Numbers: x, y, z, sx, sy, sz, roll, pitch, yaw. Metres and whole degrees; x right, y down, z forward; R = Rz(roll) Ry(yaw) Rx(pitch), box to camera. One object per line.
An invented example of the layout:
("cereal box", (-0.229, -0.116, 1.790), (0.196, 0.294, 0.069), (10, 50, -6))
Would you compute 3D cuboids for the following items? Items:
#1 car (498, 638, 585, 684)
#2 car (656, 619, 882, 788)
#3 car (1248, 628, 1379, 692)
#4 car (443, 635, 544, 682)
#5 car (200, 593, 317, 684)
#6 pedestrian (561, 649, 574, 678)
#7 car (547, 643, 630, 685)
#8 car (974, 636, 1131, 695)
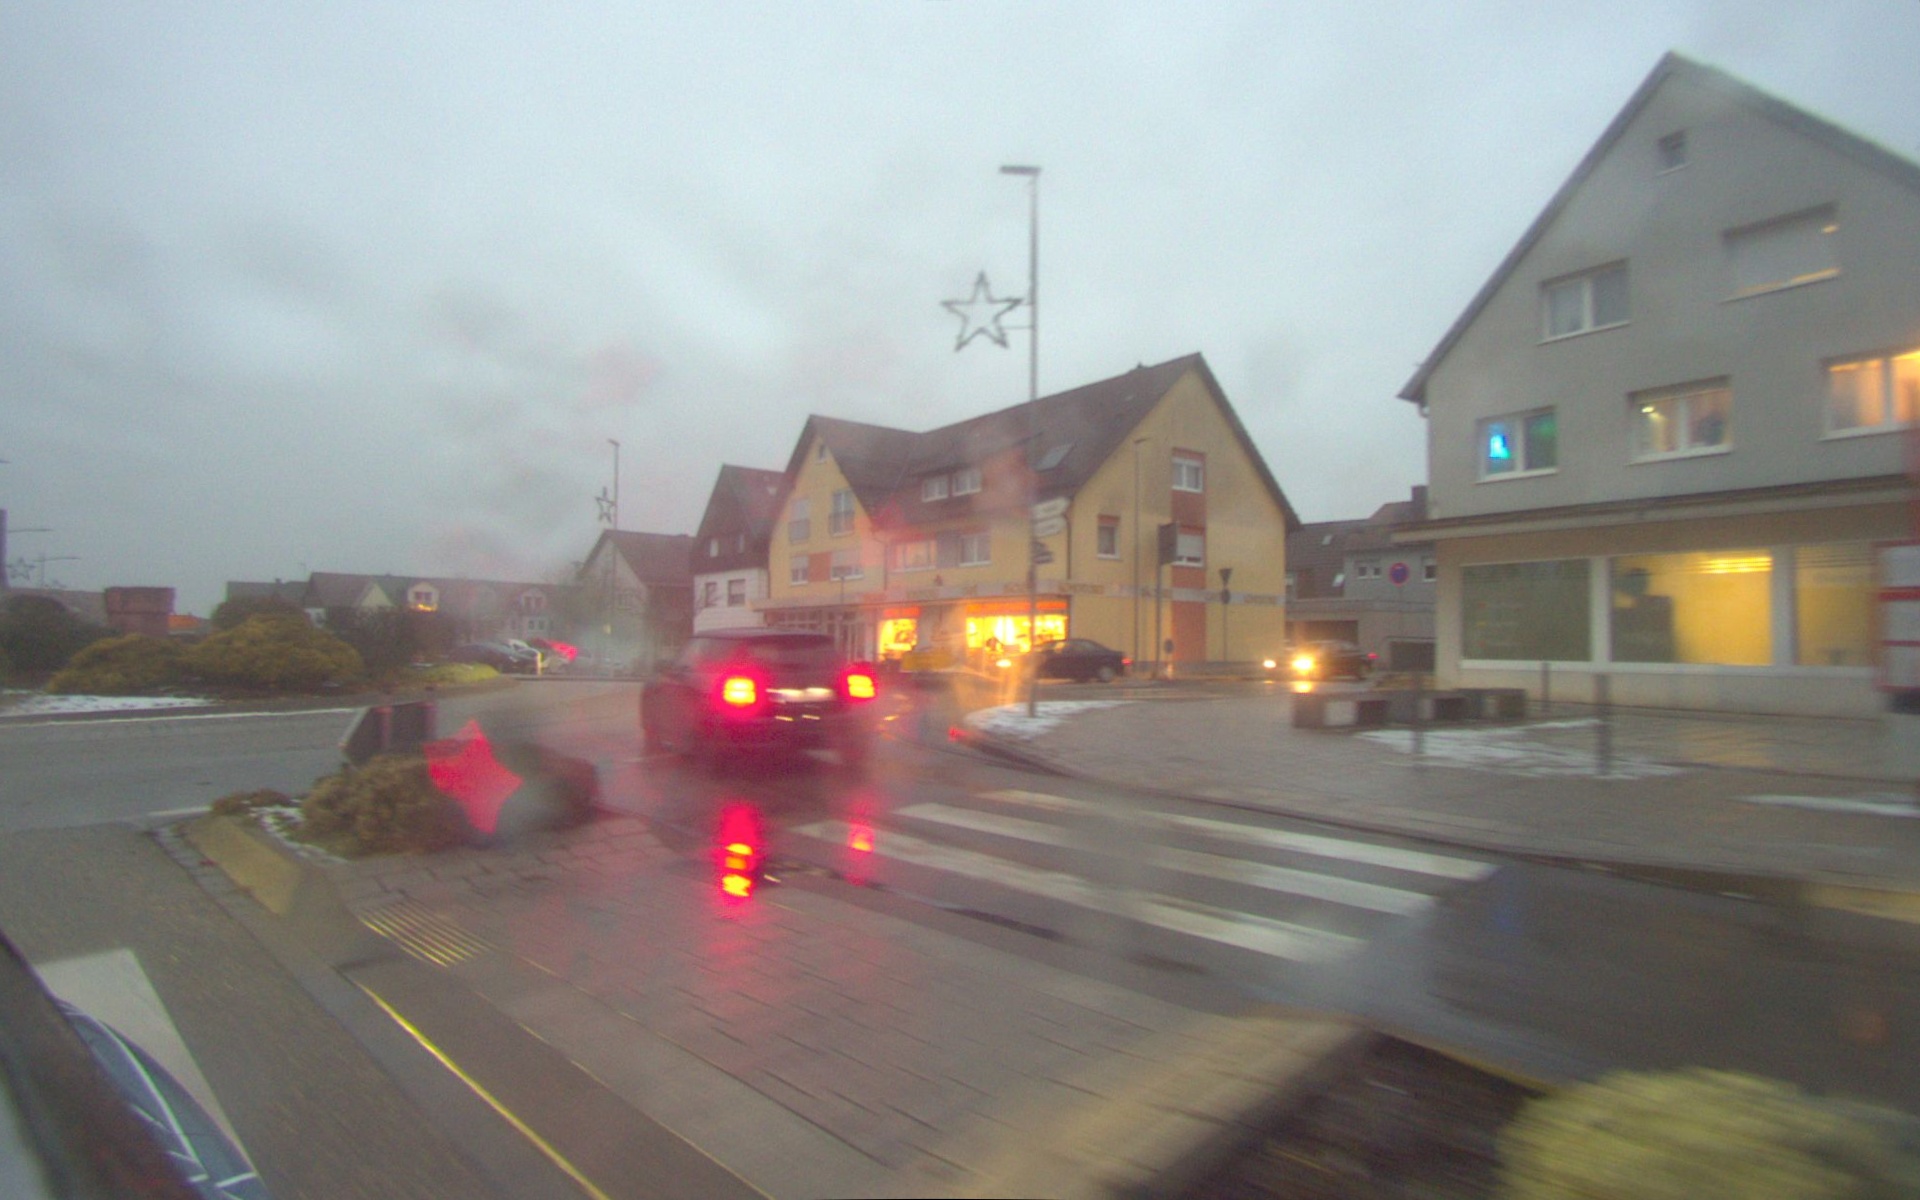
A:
("car", (-20.510, 2.948, 49.576), (3.954, 2.029, 1.907), (0, 0, 29))
("car", (-2.282, 0.992, 11.201), (1.678, 1.515, 3.911), (0, -2, -23))
("car", (12.432, 2.047, 35.533), (4.388, 2.029, 2.006), (0, 0, -31))
("car", (-21.777, 2.712, 47.252), (3.964, 2.010, 1.962), (0, 0, 16))
("car", (-17.068, 0.856, 24.826), (2.024, 2.002, 4.551), (1, 0, -31))
("pedestrian", (-22.702, 3.653, 58.528), (0.574, 1.623, 0.500), (1, 0, -44))
("car", (-19.001, 3.238, 51.754), (3.855, 1.895, 1.917), (0, 0, 29))
("car", (2.778, 1.927, 30.575), (4.298, 1.617, 1.895), (0, 0, -20))
